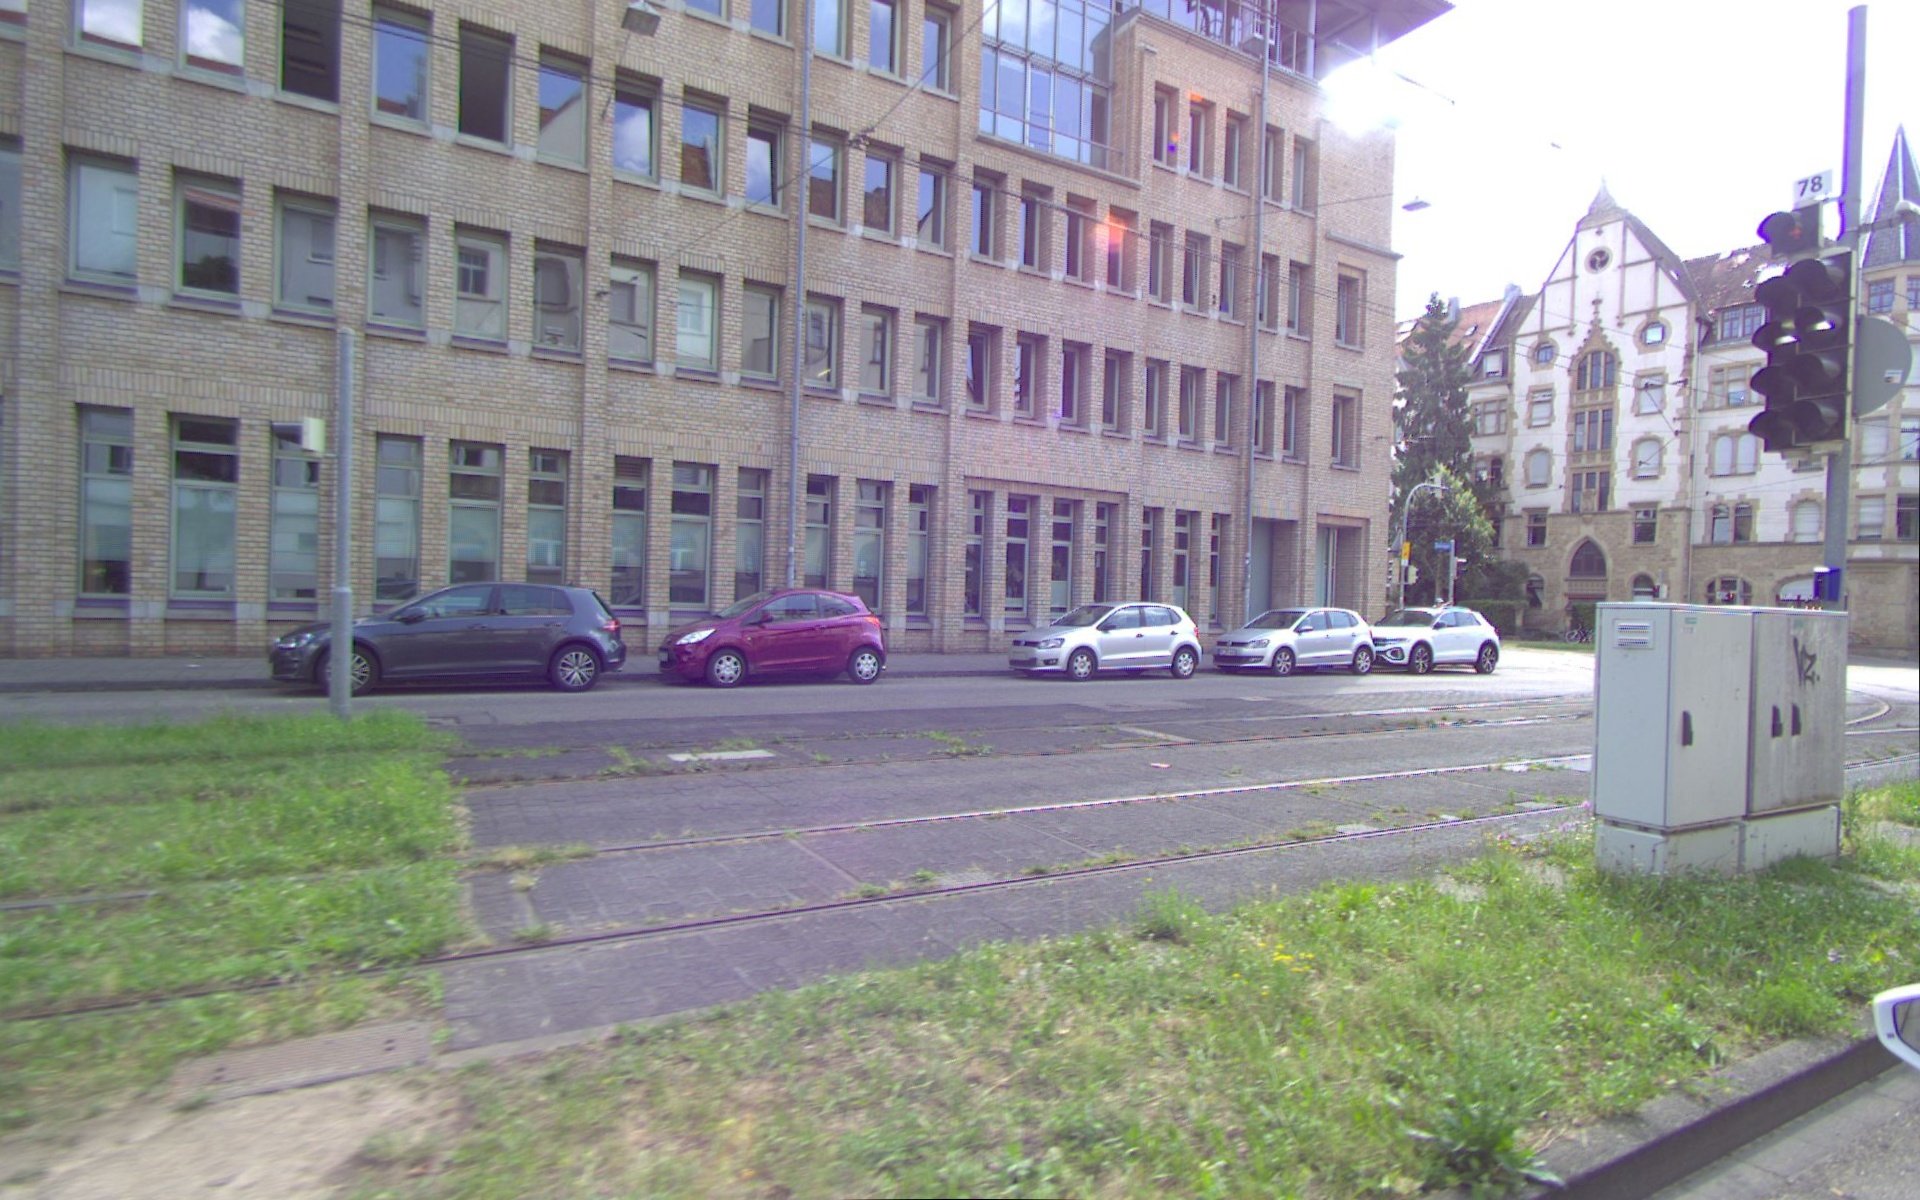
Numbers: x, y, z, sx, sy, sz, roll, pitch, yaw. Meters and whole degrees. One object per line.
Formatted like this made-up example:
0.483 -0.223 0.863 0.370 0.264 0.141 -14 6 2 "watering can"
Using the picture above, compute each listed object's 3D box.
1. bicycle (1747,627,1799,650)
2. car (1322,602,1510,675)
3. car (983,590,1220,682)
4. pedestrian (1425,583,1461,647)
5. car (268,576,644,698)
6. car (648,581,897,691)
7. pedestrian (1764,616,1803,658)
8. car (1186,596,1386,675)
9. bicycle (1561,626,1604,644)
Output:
40.561 1.918 50.110 0.772 1.095 1.900 2 0 -39 "bicycle"
10.853 0.891 23.854 4.206 1.555 1.924 2 0 -29 "car"
2.699 0.657 19.009 4.159 1.551 1.843 2 0 -29 "car"
14.273 0.440 29.686 0.750 1.819 0.957 2 1 35 "pedestrian"
-6.590 0.464 13.457 4.187 1.415 1.924 2 0 -29 "car"
-2.924 0.539 15.727 3.506 1.551 1.576 2 0 -29 "car"
35.271 1.574 43.052 1.003 1.745 0.776 2 1 17 "pedestrian"
7.069 0.751 21.763 3.965 1.551 1.924 2 0 -29 "car"
32.739 1.824 52.843 0.467 0.859 1.900 2 0 -39 "bicycle"
